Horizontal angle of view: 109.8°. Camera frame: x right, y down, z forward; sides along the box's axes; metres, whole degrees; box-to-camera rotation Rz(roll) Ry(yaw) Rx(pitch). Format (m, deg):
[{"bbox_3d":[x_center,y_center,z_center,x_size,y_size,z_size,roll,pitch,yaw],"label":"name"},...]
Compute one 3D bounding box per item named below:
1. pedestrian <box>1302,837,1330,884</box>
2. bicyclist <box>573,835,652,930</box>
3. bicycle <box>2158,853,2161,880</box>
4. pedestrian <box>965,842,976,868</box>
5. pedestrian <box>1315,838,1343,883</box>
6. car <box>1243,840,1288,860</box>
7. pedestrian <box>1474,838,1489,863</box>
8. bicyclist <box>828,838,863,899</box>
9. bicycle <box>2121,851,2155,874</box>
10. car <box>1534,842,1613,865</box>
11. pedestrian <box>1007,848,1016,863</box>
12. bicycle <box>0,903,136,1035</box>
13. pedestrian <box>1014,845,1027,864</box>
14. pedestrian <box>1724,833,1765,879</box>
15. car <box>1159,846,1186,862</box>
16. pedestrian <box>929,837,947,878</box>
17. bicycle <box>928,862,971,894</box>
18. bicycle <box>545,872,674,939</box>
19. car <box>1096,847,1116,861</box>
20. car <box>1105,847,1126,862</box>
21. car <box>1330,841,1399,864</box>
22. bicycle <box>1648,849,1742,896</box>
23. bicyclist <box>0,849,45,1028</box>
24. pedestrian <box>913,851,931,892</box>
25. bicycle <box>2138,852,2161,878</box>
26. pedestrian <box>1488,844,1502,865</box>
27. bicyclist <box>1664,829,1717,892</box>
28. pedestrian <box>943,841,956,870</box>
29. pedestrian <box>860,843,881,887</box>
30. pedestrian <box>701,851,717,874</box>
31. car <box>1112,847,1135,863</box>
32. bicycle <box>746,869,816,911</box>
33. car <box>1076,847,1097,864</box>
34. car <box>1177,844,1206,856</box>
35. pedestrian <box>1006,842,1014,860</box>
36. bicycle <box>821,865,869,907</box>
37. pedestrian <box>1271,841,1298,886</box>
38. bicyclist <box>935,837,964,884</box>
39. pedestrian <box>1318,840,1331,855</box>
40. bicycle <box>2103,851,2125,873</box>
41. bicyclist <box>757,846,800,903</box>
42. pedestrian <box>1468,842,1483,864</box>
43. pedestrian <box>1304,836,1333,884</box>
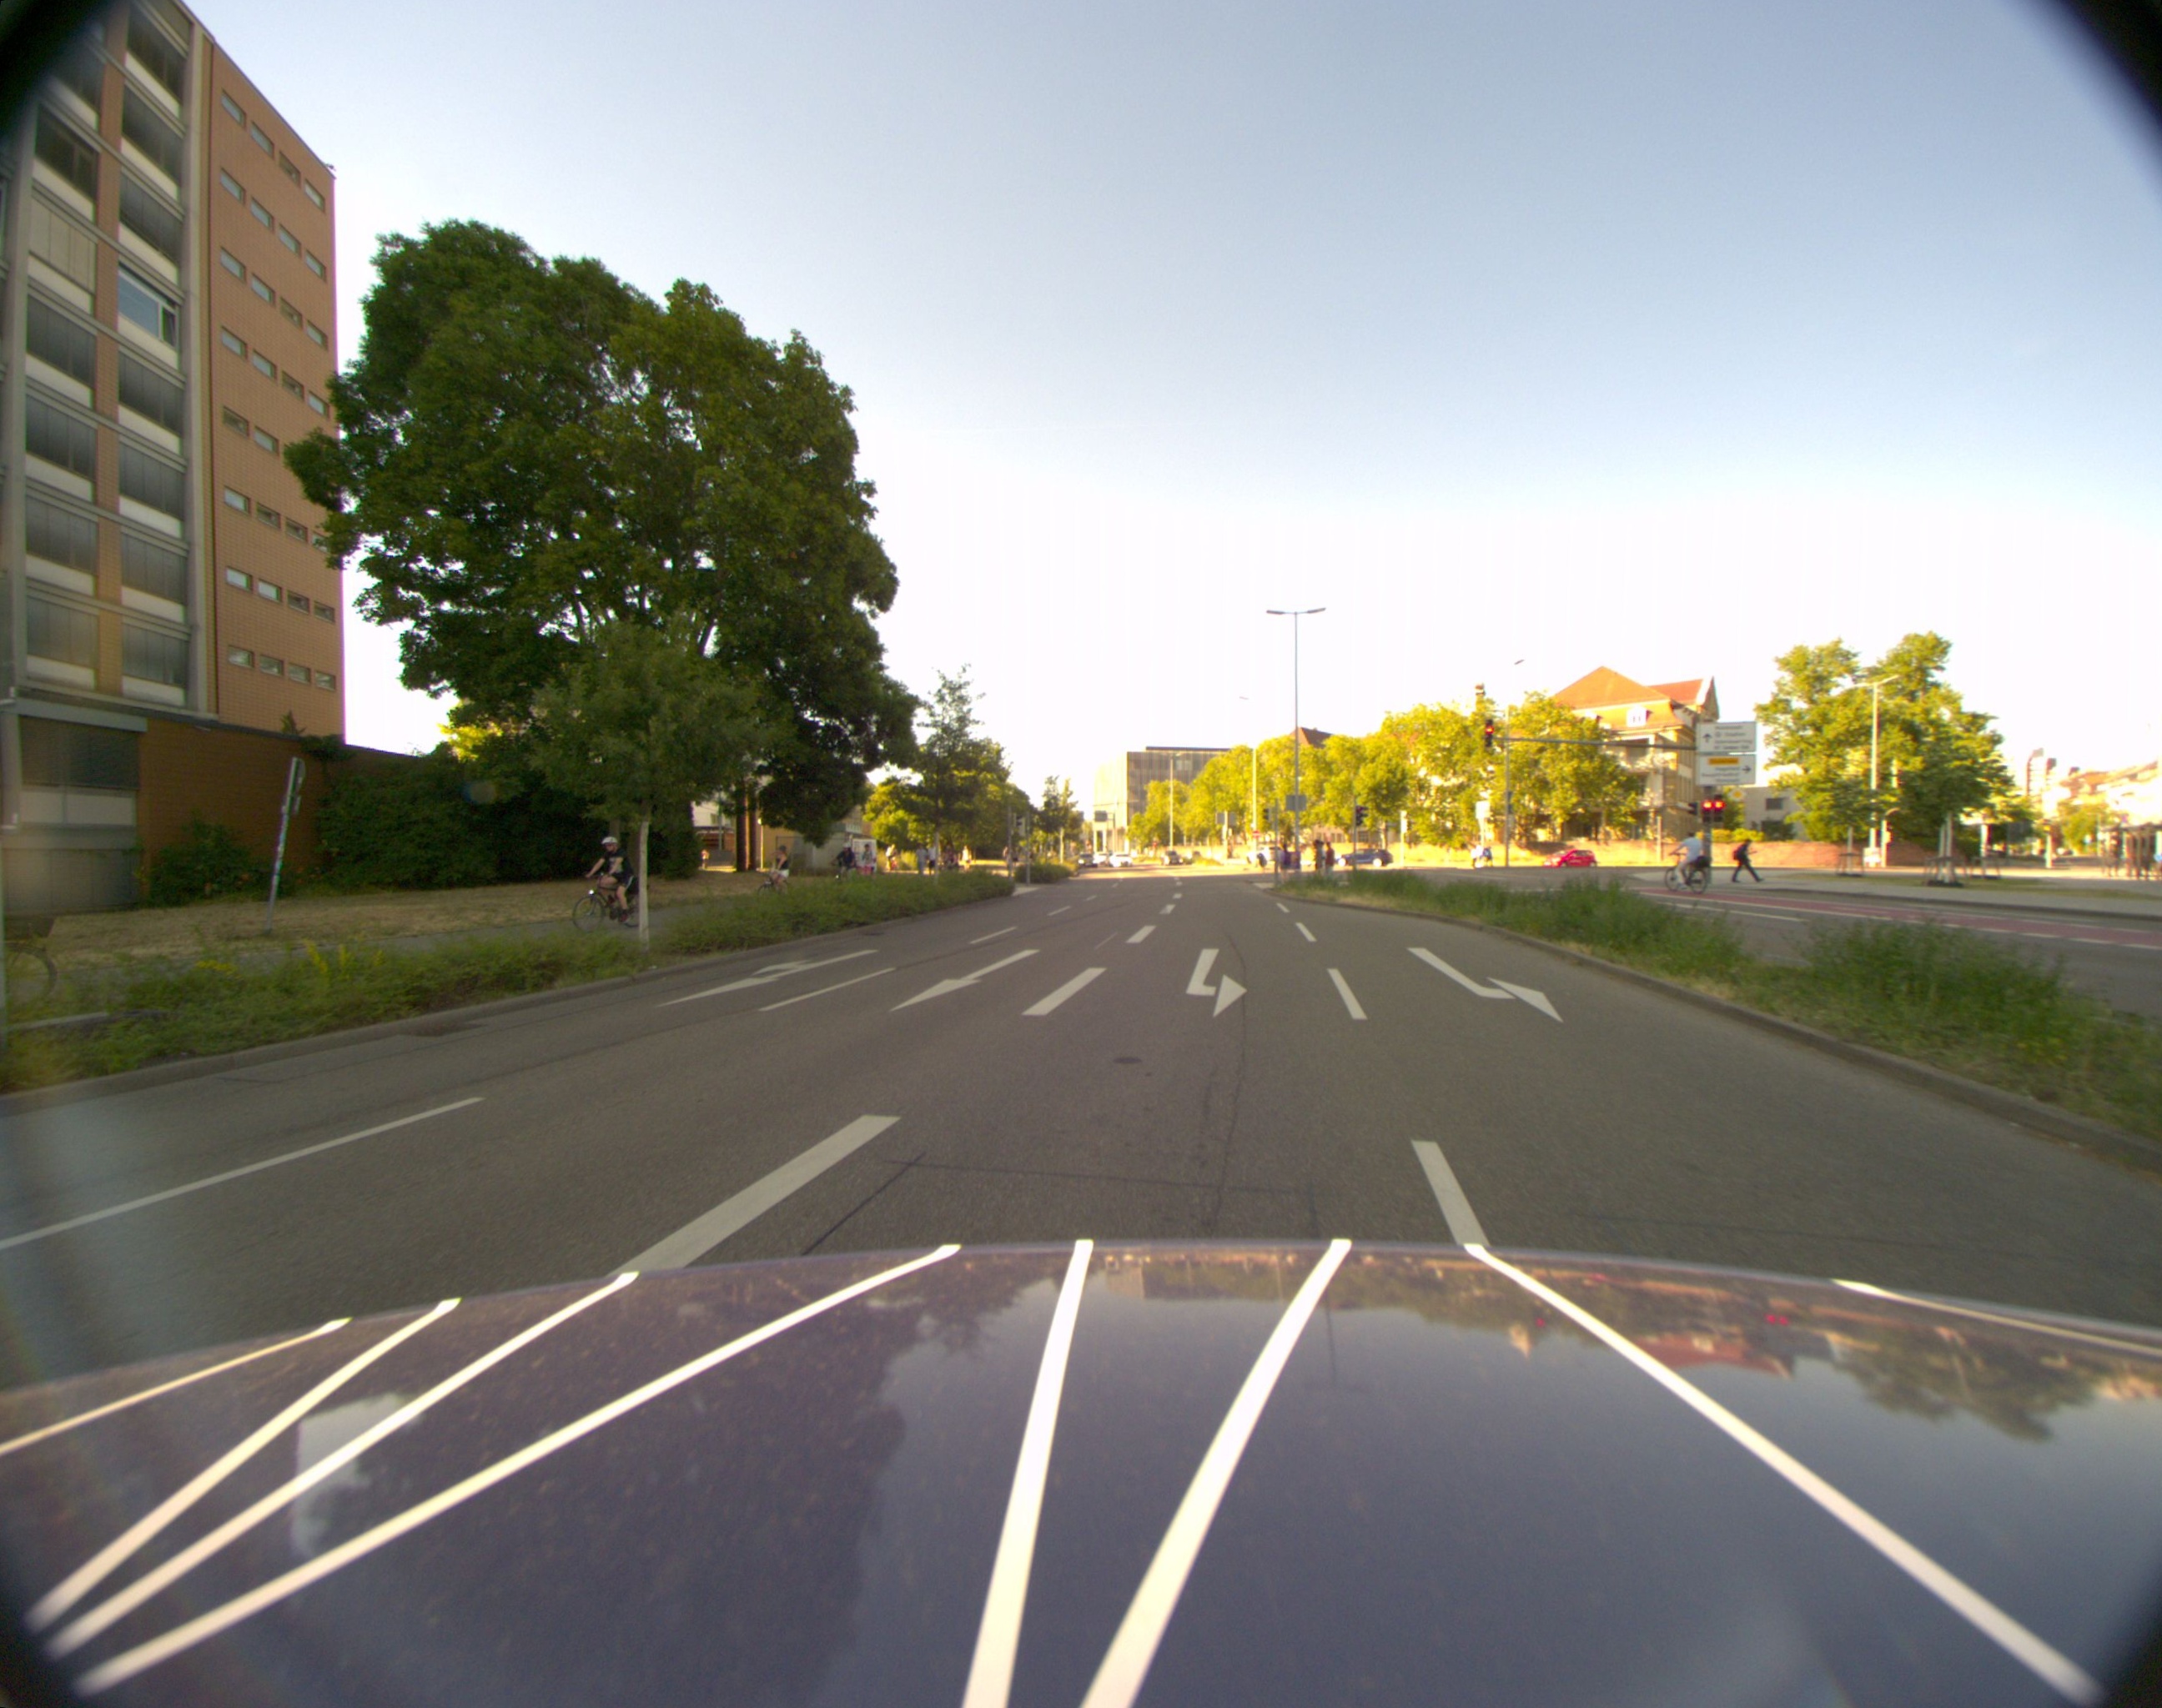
[{"bbox_3d":[8.792,0.235,28.478,0.926,1.731,0.757,0,1,9],"label":"pedestrian"},{"bbox_3d":[-9.357,0.537,15.219,0.779,1.820,1.094,0,1,14],"label":"bicyclist"},{"bbox_3d":[44.522,0.497,30.650,0.743,1.099,2.129,-1,-1,42],"label":"bicycle"},{"bbox_3d":[-7.179,0.048,49.349,0.676,1.694,0.876,0,1,-11],"label":"pedestrian"},{"bbox_3d":[9.527,0.242,29.181,0.926,1.731,0.788,0,1,9],"label":"pedestrian"},{"bbox_3d":[16.865,-0.322,69.759,2.196,1.673,4.602,0,-1,-13],"label":"car"},{"bbox_3d":[31.239,-0.259,59.250,0.871,1.884,0.713,1,5,15],"label":"pedestrian"},{"bbox_3d":[-7.192,0.415,23.248,0.780,1.823,1.092,0,1,-3],"label":"bicyclist"},{"bbox_3d":[51.633,0.398,37.129,0.565,1.048,1.977,-2,0,43],"label":"bicycle"},{"bbox_3d":[36.074,-0.050,55.701,4.608,1.576,2.193,0,-1,-13],"label":"car"},{"bbox_3d":[-7.276,0.181,79.502,0.763,1.534,0.846,0,1,-12],"label":"pedestrian"},{"bbox_3d":[-10.729,1.136,7.065,0.779,1.149,2.294,3,2,18],"label":"bicycle"},{"bbox_3d":[-5.460,0.028,68.360,1.019,1.739,0.849,0,1,-12],"label":"pedestrian"},{"bbox_3d":[24.918,0.075,28.535,0.898,1.675,0.748,0,1,9],"label":"pedestrian"},{"bbox_3d":[8.839,-0.022,73.425,1.924,1.510,4.016,0,1,-3],"label":"car"},{"bbox_3d":[-6.625,0.163,35.170,0.575,1.859,0.624,1,2,45],"label":"pedestrian"},{"bbox_3d":[-5.097,0.924,29.562,0.718,1.115,2.069,-2,1,18],"label":"bicycle"},{"bbox_3d":[-9.359,0.986,15.219,0.779,1.149,2.293,0,1,14],"label":"bicycle"},{"bbox_3d":[2.821,-0.039,87.301,1.924,1.510,4.016,0,1,-3],"label":"car"},{"bbox_3d":[3.641,0.033,80.656,1.924,1.510,4.016,0,1,-3],"label":"car"},{"bbox_3d":[21.587,-0.075,57.894,4.594,1.576,2.200,-2,-1,33],"label":"car"},{"bbox_3d":[18.092,0.515,22.477,0.741,1.248,2.556,-1,1,1],"label":"bicycle"},{"bbox_3d":[-10.718,0.812,7.059,0.779,1.668,1.094,3,2,18],"label":"bicyclist"},{"bbox_3d":[-7.386,0.799,35.327,0.575,1.859,0.624,1,2,45],"label":"pedestrian"},{"bbox_3d":[47.454,0.487,33.570,1.977,1.099,0.565,-2,0,-44],"label":"bicycle"},{"bbox_3d":[32.668,0.041,59.948,0.791,1.644,0.714,3,6,36],"label":"pedestrian"},{"bbox_3d":[18.078,0.176,22.554,0.741,1.822,1.013,-1,2,1],"label":"bicyclist"},{"bbox_3d":[-7.272,0.084,41.982,0.622,1.565,0.639,0,1,-6],"label":"pedestrian"},{"bbox_3d":[-8.278,0.424,29.886,0.622,1.689,0.630,0,1,3],"label":"pedestrian"},{"bbox_3d":[-31.816,0.725,65.035,0.899,2.002,0.868,0,1,0],"label":"pedestrian"},{"bbox_3d":[4.042,0.085,73.327,1.803,1.510,4.429,0,1,-3],"label":"car"},{"bbox_3d":[-8.270,0.974,21.023,0.718,1.114,1.872,-1,-1,20],"label":"bicycle"},{"bbox_3d":[0.510,0.088,71.810,1.803,1.510,3.998,0,1,-3],"label":"car"},{"bbox_3d":[14.839,-0.536,102.502,2.158,1.611,4.355,-1,1,-18],"label":"car"},{"bbox_3d":[-6.730,-0.249,72.291,0.712,1.703,0.733,0,1,-6],"label":"pedestrian"},{"bbox_3d":[-7.205,0.940,23.301,0.780,1.149,2.579,0,1,-3],"label":"bicycle"},{"bbox_3d":[7.980,0.350,29.828,0.926,1.731,0.757,0,1,9],"label":"pedestrian"},{"bbox_3d":[-5.103,0.235,29.584,0.716,1.778,0.850,-2,1,18],"label":"bicyclist"},{"bbox_3d":[25.141,-0.641,78.500,0.974,1.528,0.922,0,1,-6],"label":"pedestrian"},{"bbox_3d":[52.541,0.405,38.643,1.977,1.048,0.565,-2,0,-39],"label":"bicycle"},{"bbox_3d":[-8.322,0.562,20.932,0.716,1.539,0.851,-1,-1,20],"label":"bicyclist"},{"bbox_3d":[30.489,-0.082,58.709,0.871,1.665,0.713,1,5,15],"label":"pedestrian"},{"bbox_3d":[8.644,0.224,27.667,0.926,1.731,0.757,0,1,9],"label":"pedestrian"}]
